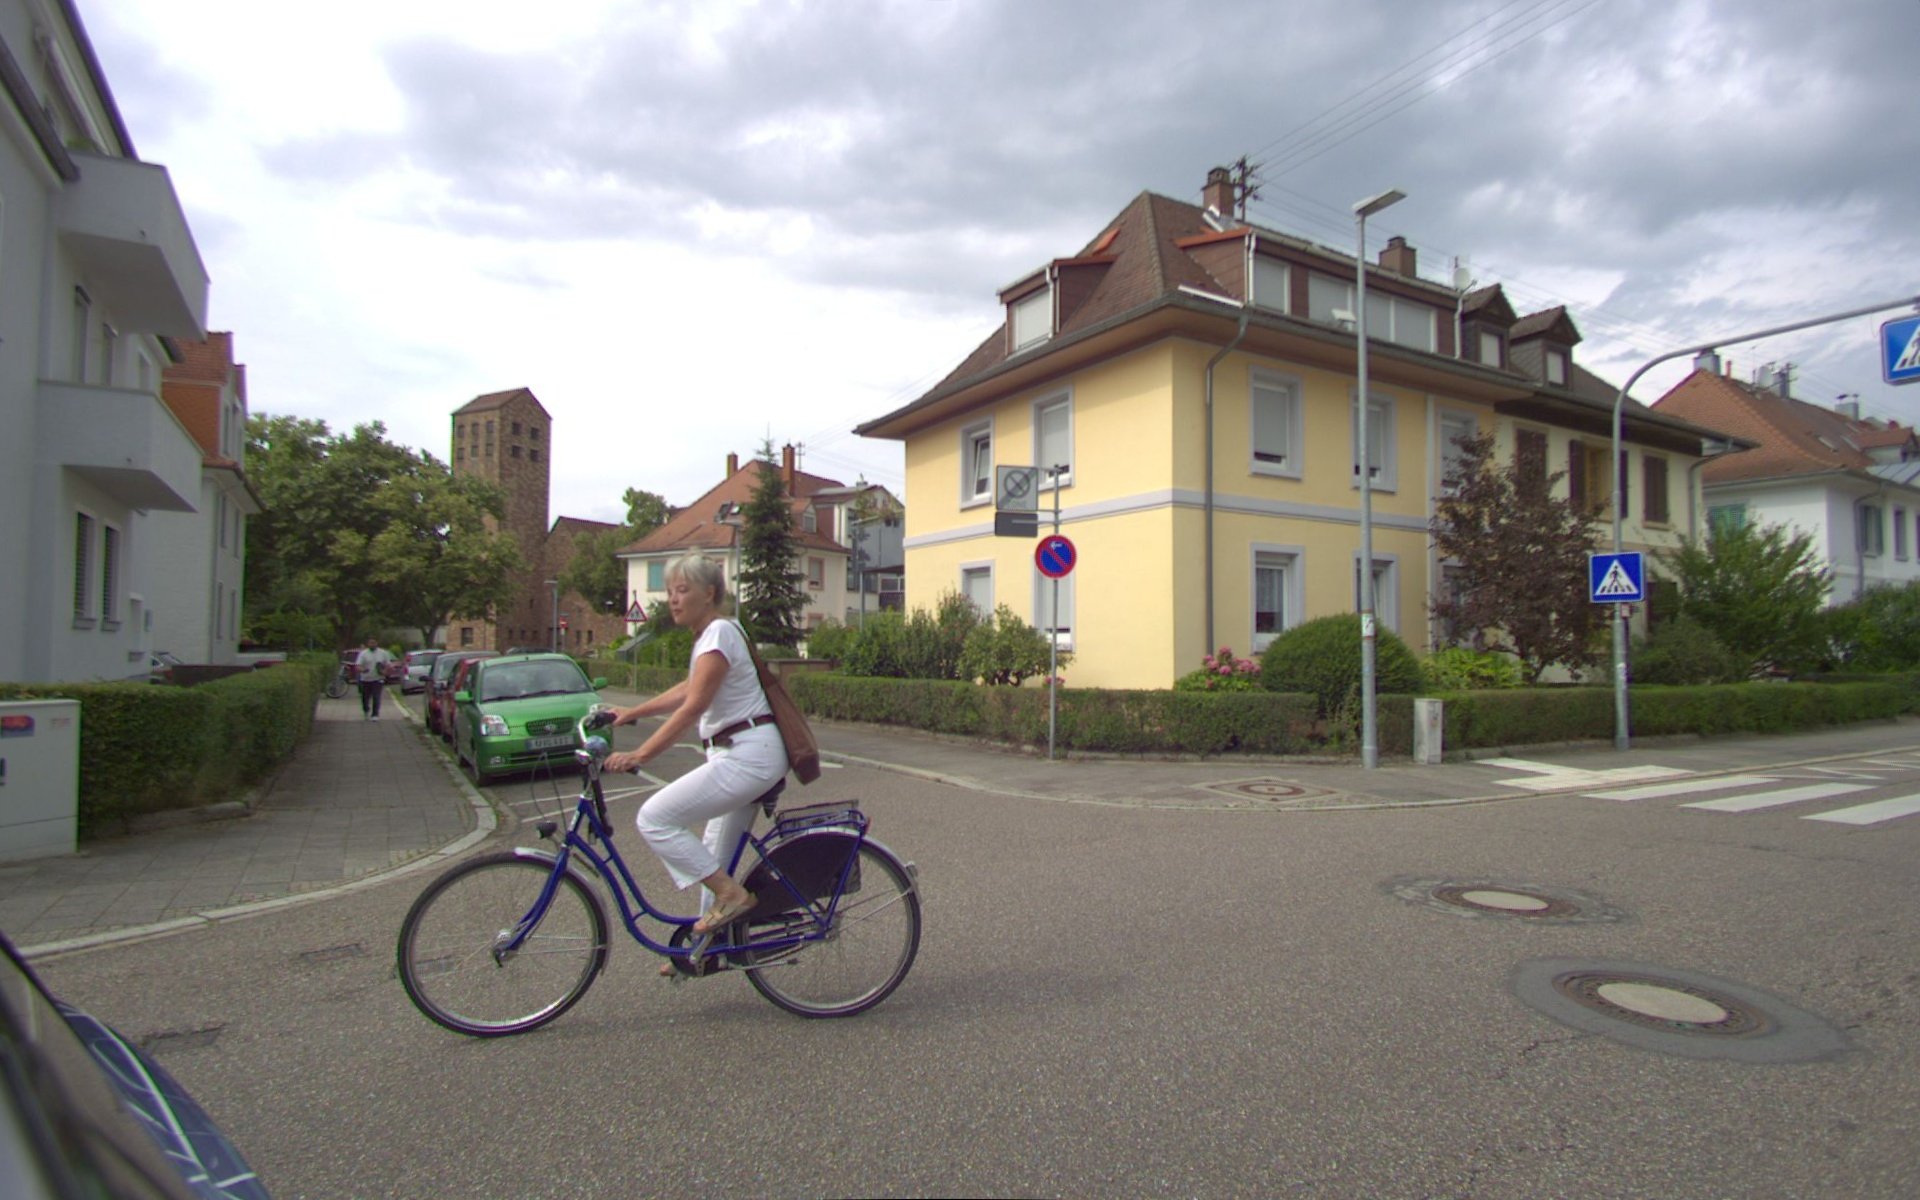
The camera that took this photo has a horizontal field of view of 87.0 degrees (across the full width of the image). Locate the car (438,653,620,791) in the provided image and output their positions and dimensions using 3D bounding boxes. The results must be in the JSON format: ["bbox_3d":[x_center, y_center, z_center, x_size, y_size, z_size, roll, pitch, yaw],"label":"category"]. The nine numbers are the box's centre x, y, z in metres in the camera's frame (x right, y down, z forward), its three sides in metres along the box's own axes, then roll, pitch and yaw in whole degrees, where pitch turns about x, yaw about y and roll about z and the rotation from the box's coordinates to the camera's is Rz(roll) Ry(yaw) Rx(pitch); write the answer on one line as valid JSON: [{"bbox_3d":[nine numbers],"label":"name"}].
[{"bbox_3d":[-5.676,1.449,13.101,1.623,1.432,3.491,-2,-1,-32],"label":"car"}]

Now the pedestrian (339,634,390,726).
[{"bbox_3d":[-12.688,1.690,21.566,0.869,1.893,1.082,2,-3,-31],"label":"pedestrian"}]

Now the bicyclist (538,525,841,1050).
[{"bbox_3d":[-0.934,0.609,3.681,0.960,1.679,0.700,-1,-3,-7],"label":"bicyclist"}]

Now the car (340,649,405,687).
[{"bbox_3d":[-25.579,2.935,44.003,1.626,1.507,3.484,-1,-2,-44],"label":"car"}]

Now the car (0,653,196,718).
[{"bbox_3d":[-21.284,2.044,24.704,3.931,1.475,2.006,2,-4,-30],"label":"car"}]

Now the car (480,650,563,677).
[{"bbox_3d":[-25.275,3.661,58.317,4.156,1.475,1.689,2,-2,-32],"label":"car"}]

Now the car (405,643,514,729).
[{"bbox_3d":[-10.316,1.700,20.750,1.623,1.507,3.491,-2,-1,-32],"label":"car"}]

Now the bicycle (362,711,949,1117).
[{"bbox_3d":[-1.010,1.034,3.645,1.844,1.161,0.708,-1,-3,-7],"label":"bicycle"}]

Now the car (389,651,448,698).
[{"bbox_3d":[-19.651,2.658,36.682,1.623,1.507,3.491,-2,-1,-32],"label":"car"}]

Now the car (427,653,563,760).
[{"bbox_3d":[-7.936,1.695,17.099,1.623,1.507,3.491,-2,-1,-32],"label":"car"}]

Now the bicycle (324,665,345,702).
[{"bbox_3d":[-19.929,2.655,32.240,0.416,1.112,2.120,2,-4,-35],"label":"bicycle"}]
